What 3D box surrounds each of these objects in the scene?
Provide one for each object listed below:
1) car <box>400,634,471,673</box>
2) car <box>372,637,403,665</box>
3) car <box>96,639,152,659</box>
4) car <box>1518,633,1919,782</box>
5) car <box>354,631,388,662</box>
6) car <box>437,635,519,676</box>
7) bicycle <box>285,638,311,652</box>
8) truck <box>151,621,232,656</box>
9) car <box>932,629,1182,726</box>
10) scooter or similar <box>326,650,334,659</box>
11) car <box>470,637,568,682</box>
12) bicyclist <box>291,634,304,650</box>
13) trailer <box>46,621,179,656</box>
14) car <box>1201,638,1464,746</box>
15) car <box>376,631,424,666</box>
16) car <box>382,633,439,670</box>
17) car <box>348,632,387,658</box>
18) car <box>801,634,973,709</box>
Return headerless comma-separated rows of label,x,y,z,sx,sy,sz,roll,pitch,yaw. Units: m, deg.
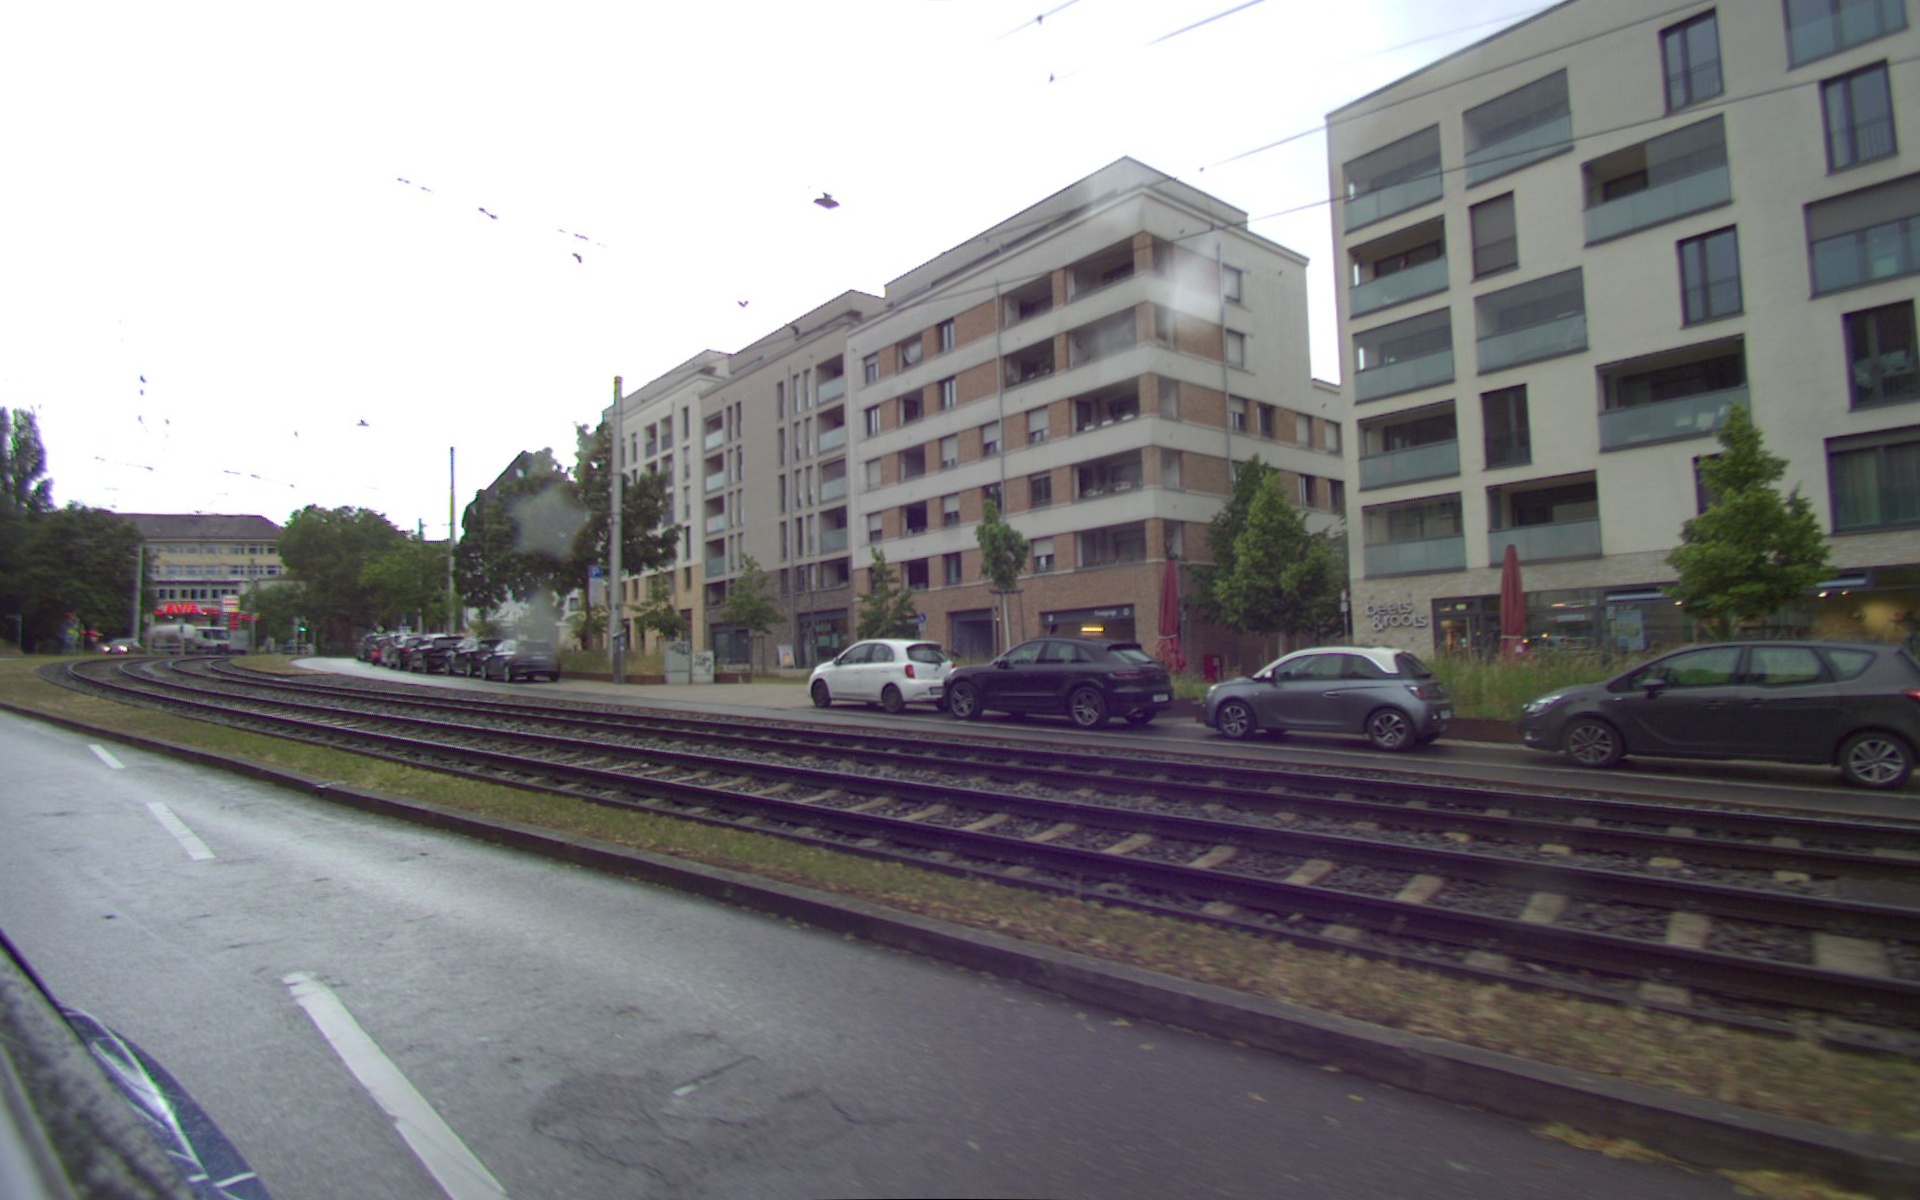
car,-22.737,2.267,43.791,1.780,1.596,4.706,1,-2,-39
car,-32.284,2.871,57.008,1.449,1.543,2.940,1,-3,-30
car,-66.301,3.868,80.306,1.859,1.502,3.859,1,-3,-14
car,9.281,1.168,12.093,4.315,1.525,1.702,-2,-2,40
car,-37.887,2.985,65.040,1.560,1.873,4.344,-1,-2,-34
car,-19.321,2.183,40.461,1.716,1.500,4.260,1,-2,-44
bicycle,-53.767,3.647,82.160,1.684,1.149,0.627,2,-3,-38
truck,-77.950,3.975,102.783,6.019,3.426,2.846,2,-4,-24
car,1.704,1.350,18.667,4.402,1.573,1.747,-2,-3,40
scooter or similar,-86.917,7.567,139.658,0.394,1.202,1.364,0,0,-4
car,-15.595,2.048,35.681,1.942,1.442,4.204,1,-2,-42
bicyclist,-53.478,3.395,81.729,0.787,1.304,0.596,2,-2,-39
trailer,-83.927,3.805,100.474,9.666,3.422,2.822,1,-3,-19
car,5.598,1.319,15.401,3.448,1.446,1.533,-2,-3,40
car,-29.499,2.506,53.222,1.641,1.761,4.266,1,-3,-37
car,-26.211,2.408,48.216,1.709,1.657,4.541,1,-2,-37
car,-40.508,3.051,69.158,1.967,1.617,4.226,-2,-1,-34
car,-1.650,1.496,21.970,1.745,1.490,3.738,3,-4,-43
